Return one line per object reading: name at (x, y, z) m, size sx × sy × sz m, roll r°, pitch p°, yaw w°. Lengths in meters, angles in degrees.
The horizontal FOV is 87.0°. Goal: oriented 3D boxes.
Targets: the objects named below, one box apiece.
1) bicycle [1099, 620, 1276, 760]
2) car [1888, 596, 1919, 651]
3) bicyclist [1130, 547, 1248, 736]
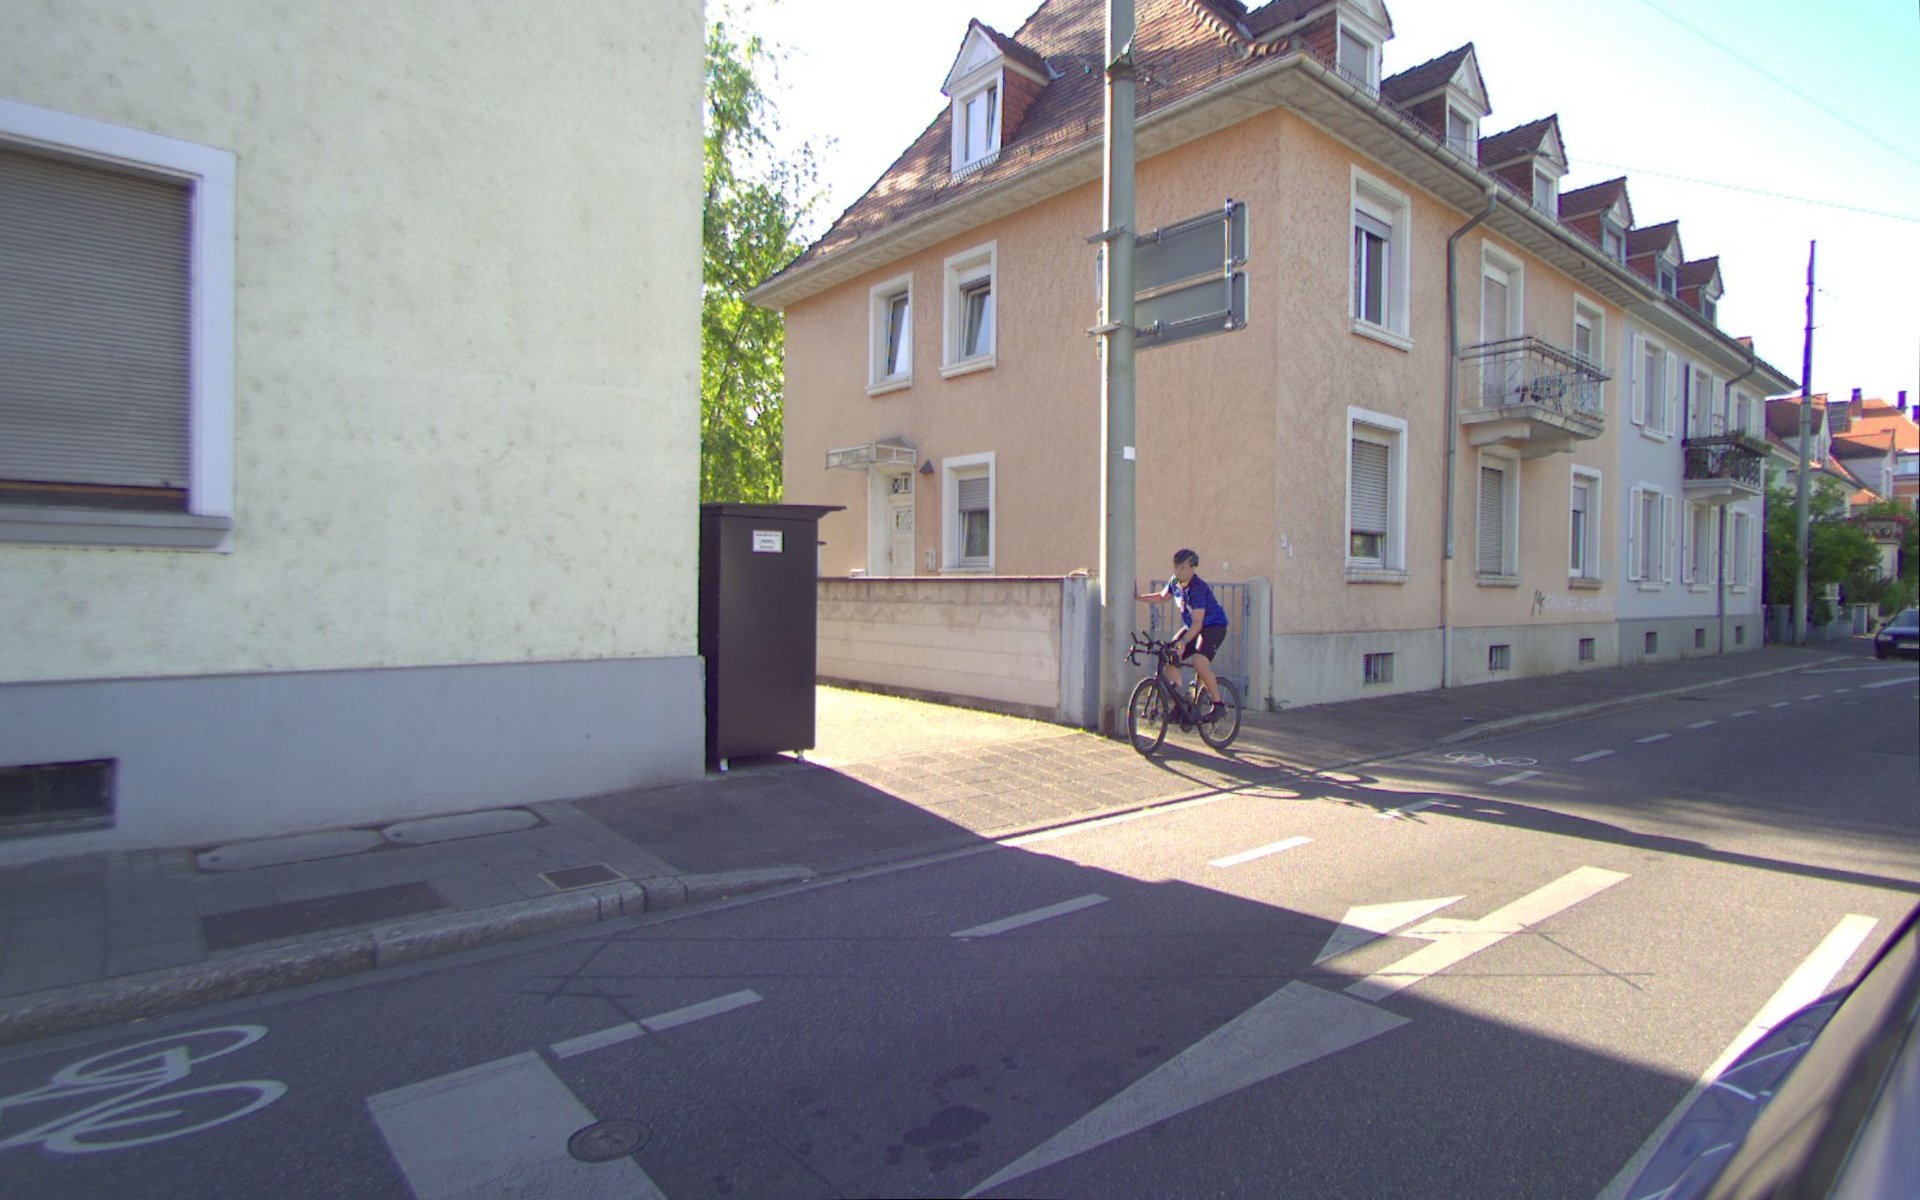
bicycle at (2.107, 0.771, 9.246) m, size 1.763 × 1.074 × 0.551 m, roll 0°, pitch 6°, yaw -41°
car at (26.715, 0.622, 27.397) m, size 4.347 × 1.425 × 1.866 m, roll 0°, pitch 1°, yaw -41°
bicyclist at (2.106, 0.351, 9.279) m, size 0.998 × 1.637 × 0.562 m, roll 0°, pitch 1°, yaw -40°
